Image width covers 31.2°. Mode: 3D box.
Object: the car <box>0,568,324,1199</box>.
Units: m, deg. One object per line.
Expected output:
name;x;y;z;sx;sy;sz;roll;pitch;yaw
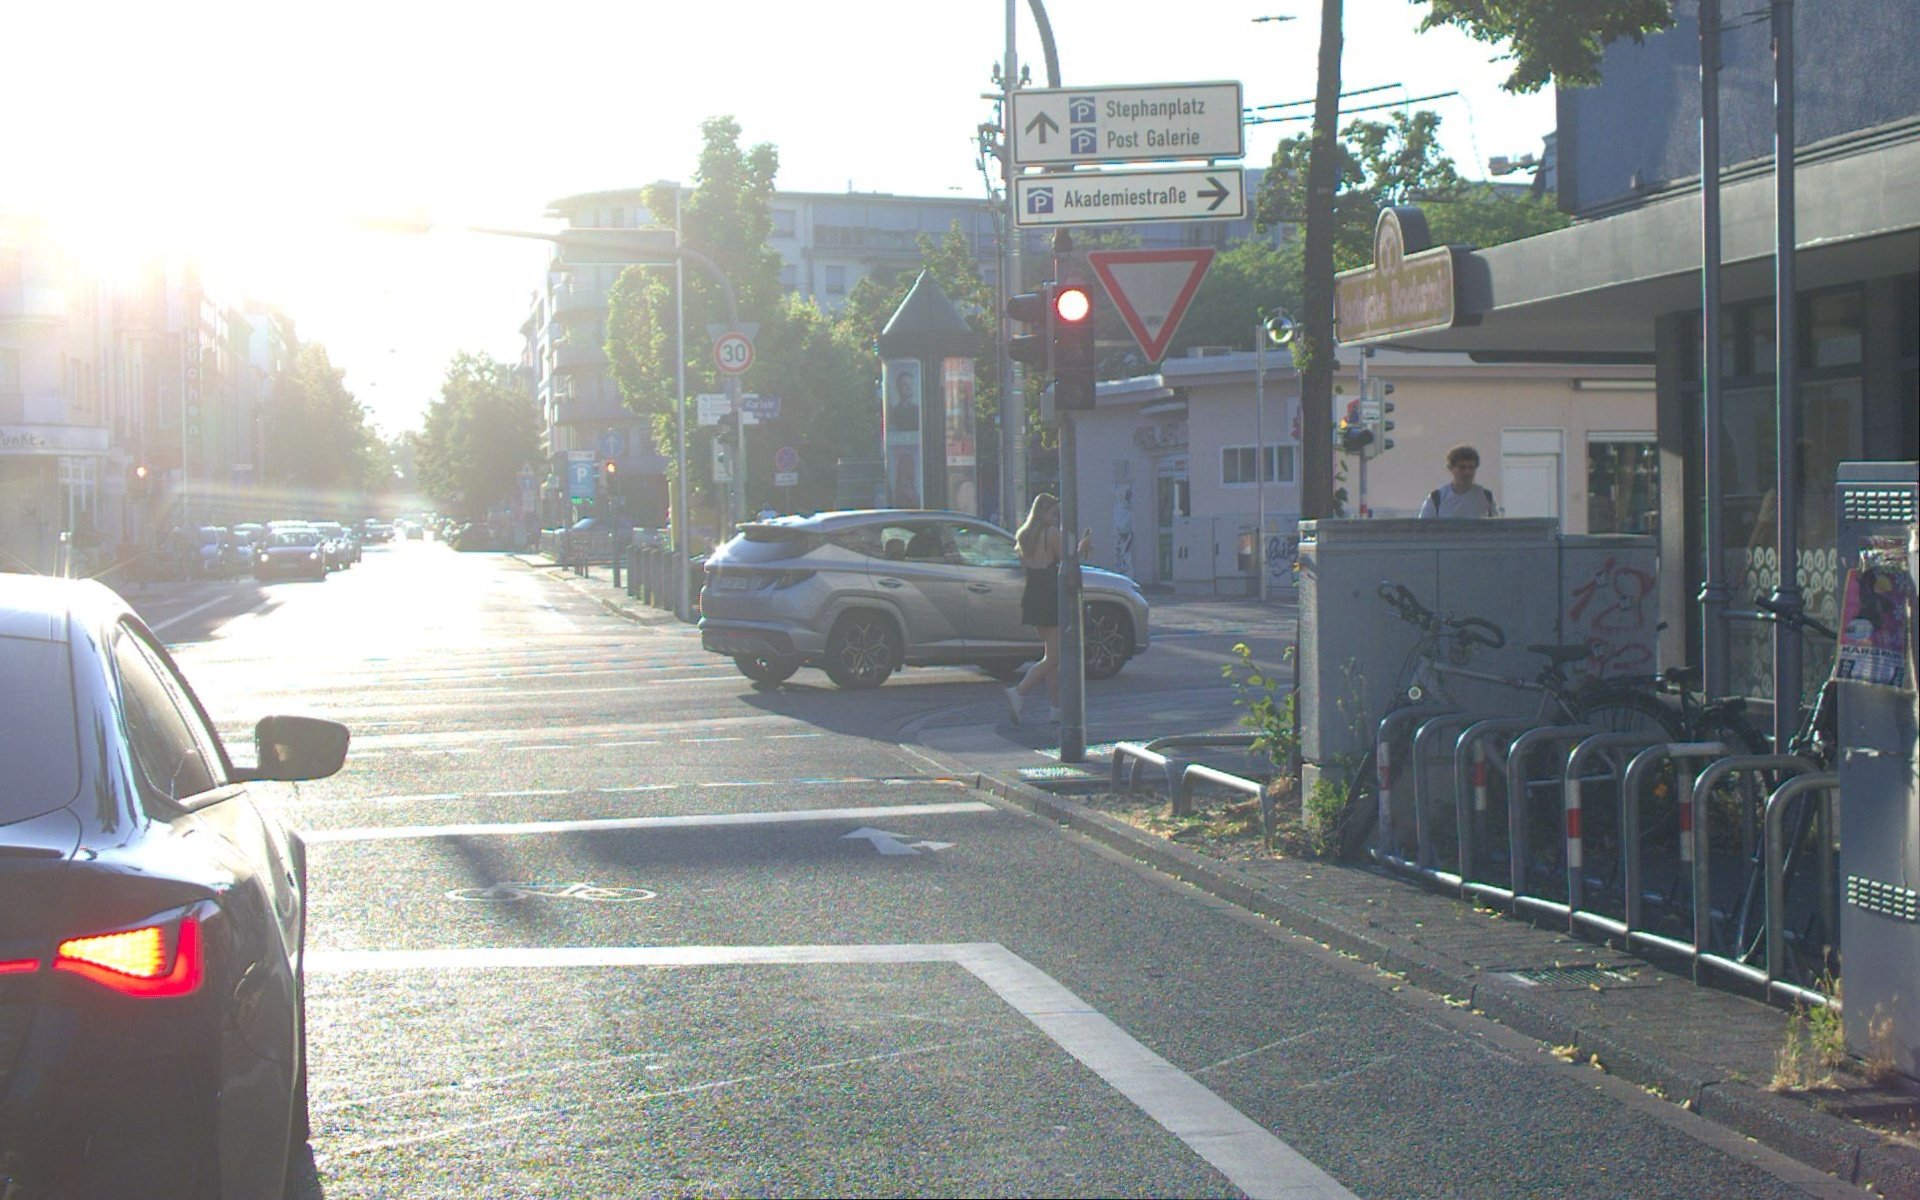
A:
car;-2.119;0.679;6.498;1.736;1.424;4.225;0;1;-10

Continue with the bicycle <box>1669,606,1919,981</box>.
bicycle;3.133;0.639;11.461;1.440;1.216;0.383;1;1;-7

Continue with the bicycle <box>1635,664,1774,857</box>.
bicycle;3.326;0.705;15.405;0.249;0.793;1.116;1;1;-7

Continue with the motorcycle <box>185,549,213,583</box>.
motorcycle;-20.843;-0.934;94.153;0.575;0.912;2.201;1;1;-8

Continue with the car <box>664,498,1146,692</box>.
car;-0.492;-0.099;32.663;4.278;1.701;1.805;-2;2;-34

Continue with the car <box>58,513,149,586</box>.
car;-21.658;-1.295;87.077;1.817;1.782;4.001;-1;2;-8

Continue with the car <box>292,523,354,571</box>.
car;-20.927;-1.768;112.982;1.817;1.514;4.001;-1;2;-8

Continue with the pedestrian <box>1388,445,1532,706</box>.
pedestrian;3.582;-0.183;24.676;0.835;1.835;0.679;-1;1;-8

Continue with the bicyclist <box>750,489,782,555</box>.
bicyclist;-4.396;-1.760;77.842;0.550;1.476;0.723;0;0;-17

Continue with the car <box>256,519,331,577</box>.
car;-18.325;-1.453;94.648;1.817;1.514;4.001;-1;2;-8

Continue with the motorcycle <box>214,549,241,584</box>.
motorcycle;-19.969;-0.915;93.769;0.575;0.912;2.201;1;1;-8

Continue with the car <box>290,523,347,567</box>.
car;-22.966;-1.992;123.132;1.817;1.514;4.001;-1;2;-8

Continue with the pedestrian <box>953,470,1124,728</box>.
pedestrian;0.592;-0.019;25.908;1.001;1.854;0.640;-5;3;-28

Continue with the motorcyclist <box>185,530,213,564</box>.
motorcyclist;-20.833;-1.463;94.132;0.575;0.912;2.201;1;1;-8

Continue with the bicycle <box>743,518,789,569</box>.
bicycle;-4.398;-1.274;77.836;0.550;1.155;2.145;0;1;-17

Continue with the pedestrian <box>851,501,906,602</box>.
pedestrian;-1.239;-0.740;52.234;0.732;1.524;0.473;1;1;-14

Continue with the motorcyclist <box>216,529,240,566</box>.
motorcyclist;-19.946;-1.442;93.660;0.575;0.992;0.703;1;1;-8

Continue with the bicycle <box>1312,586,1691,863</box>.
bicycle;2.385;0.540;15.156;1.612;1.167;0.318;-1;1;-6
